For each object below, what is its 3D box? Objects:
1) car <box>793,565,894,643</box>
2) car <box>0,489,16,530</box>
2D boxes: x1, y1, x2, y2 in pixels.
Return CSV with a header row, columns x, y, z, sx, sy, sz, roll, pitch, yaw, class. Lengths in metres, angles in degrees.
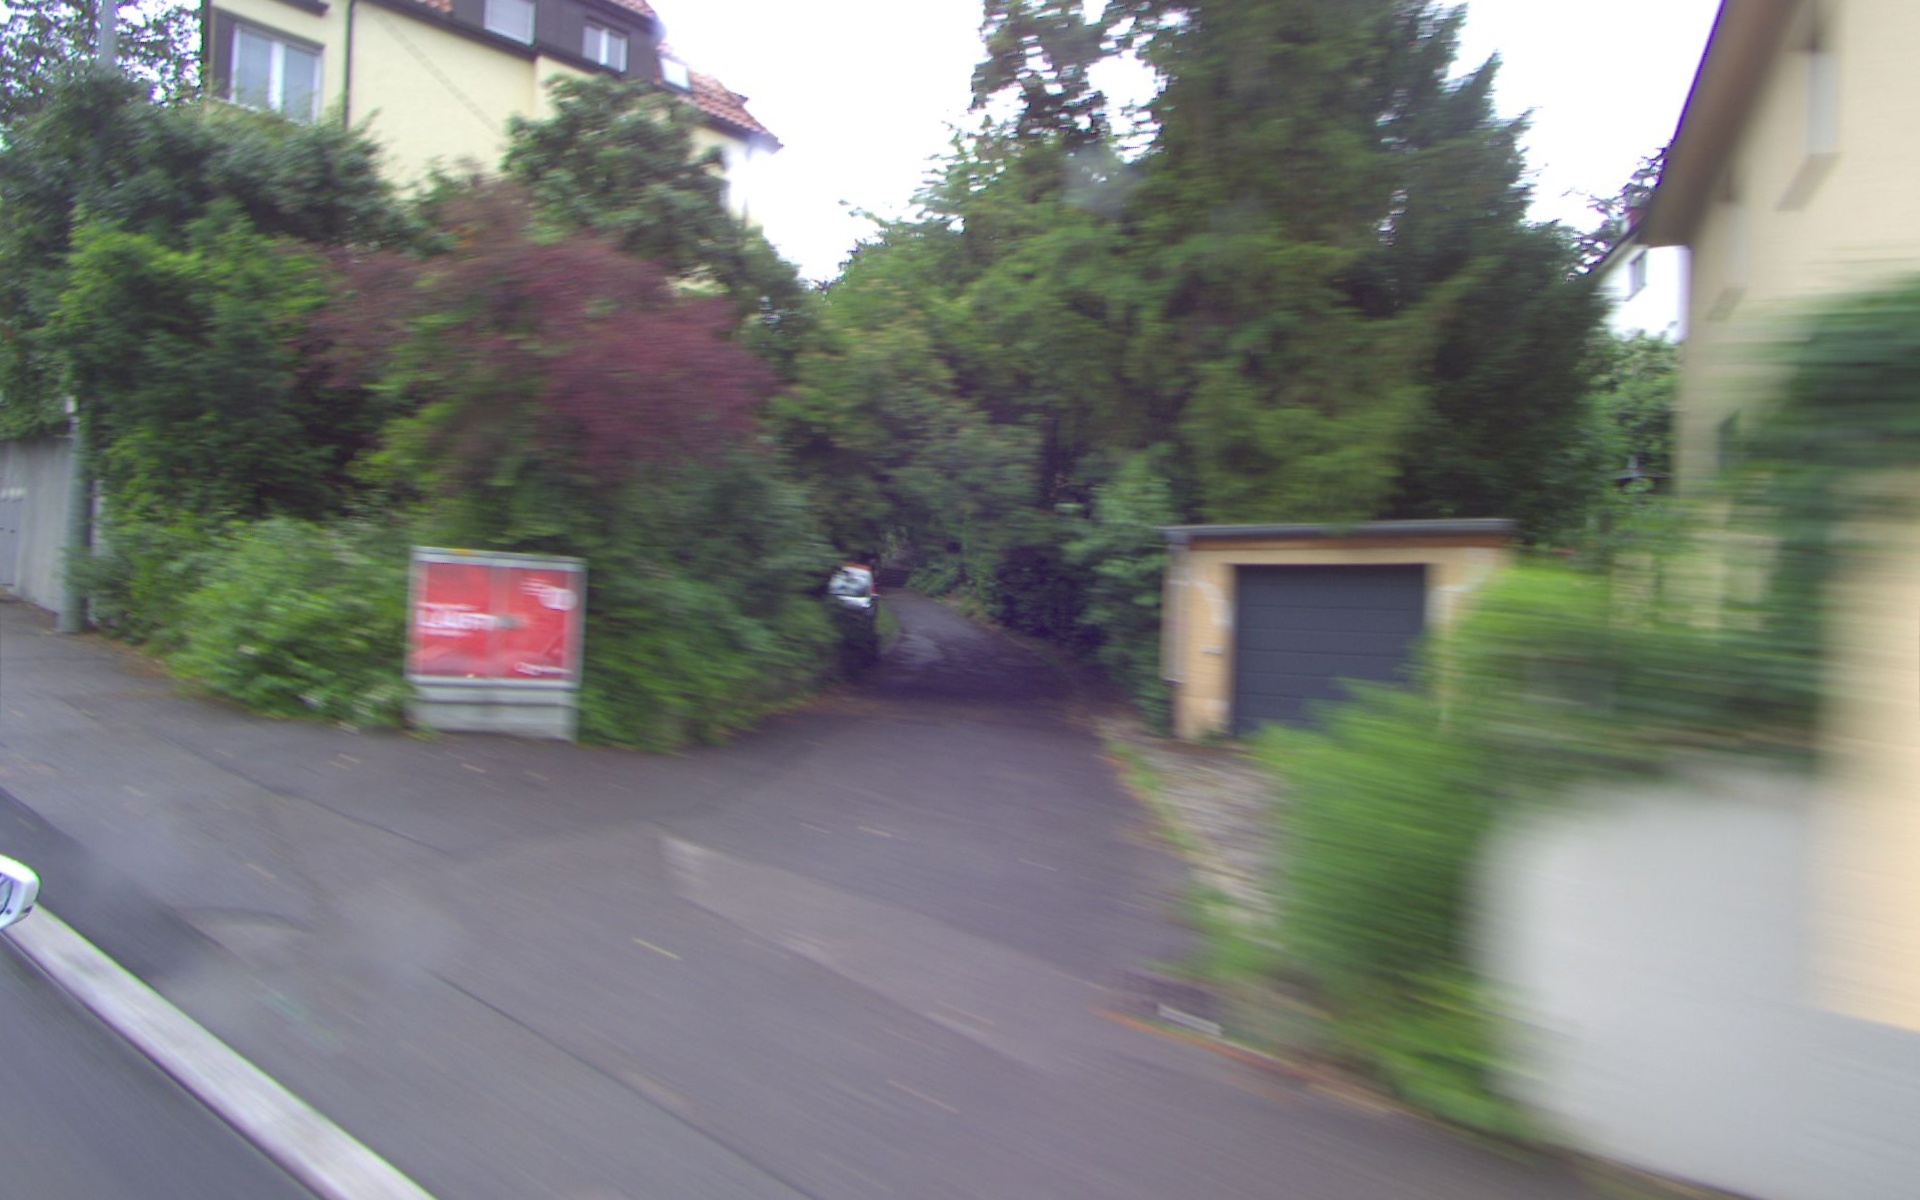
x,y,z,sx,sy,sz,roll,pitch,yaw,class
-3.065,0.041,25.844,1.847,1.480,3.709,7,3,-17,car
-43.213,-4.107,44.272,1.710,1.679,3.682,8,-3,-34,car
